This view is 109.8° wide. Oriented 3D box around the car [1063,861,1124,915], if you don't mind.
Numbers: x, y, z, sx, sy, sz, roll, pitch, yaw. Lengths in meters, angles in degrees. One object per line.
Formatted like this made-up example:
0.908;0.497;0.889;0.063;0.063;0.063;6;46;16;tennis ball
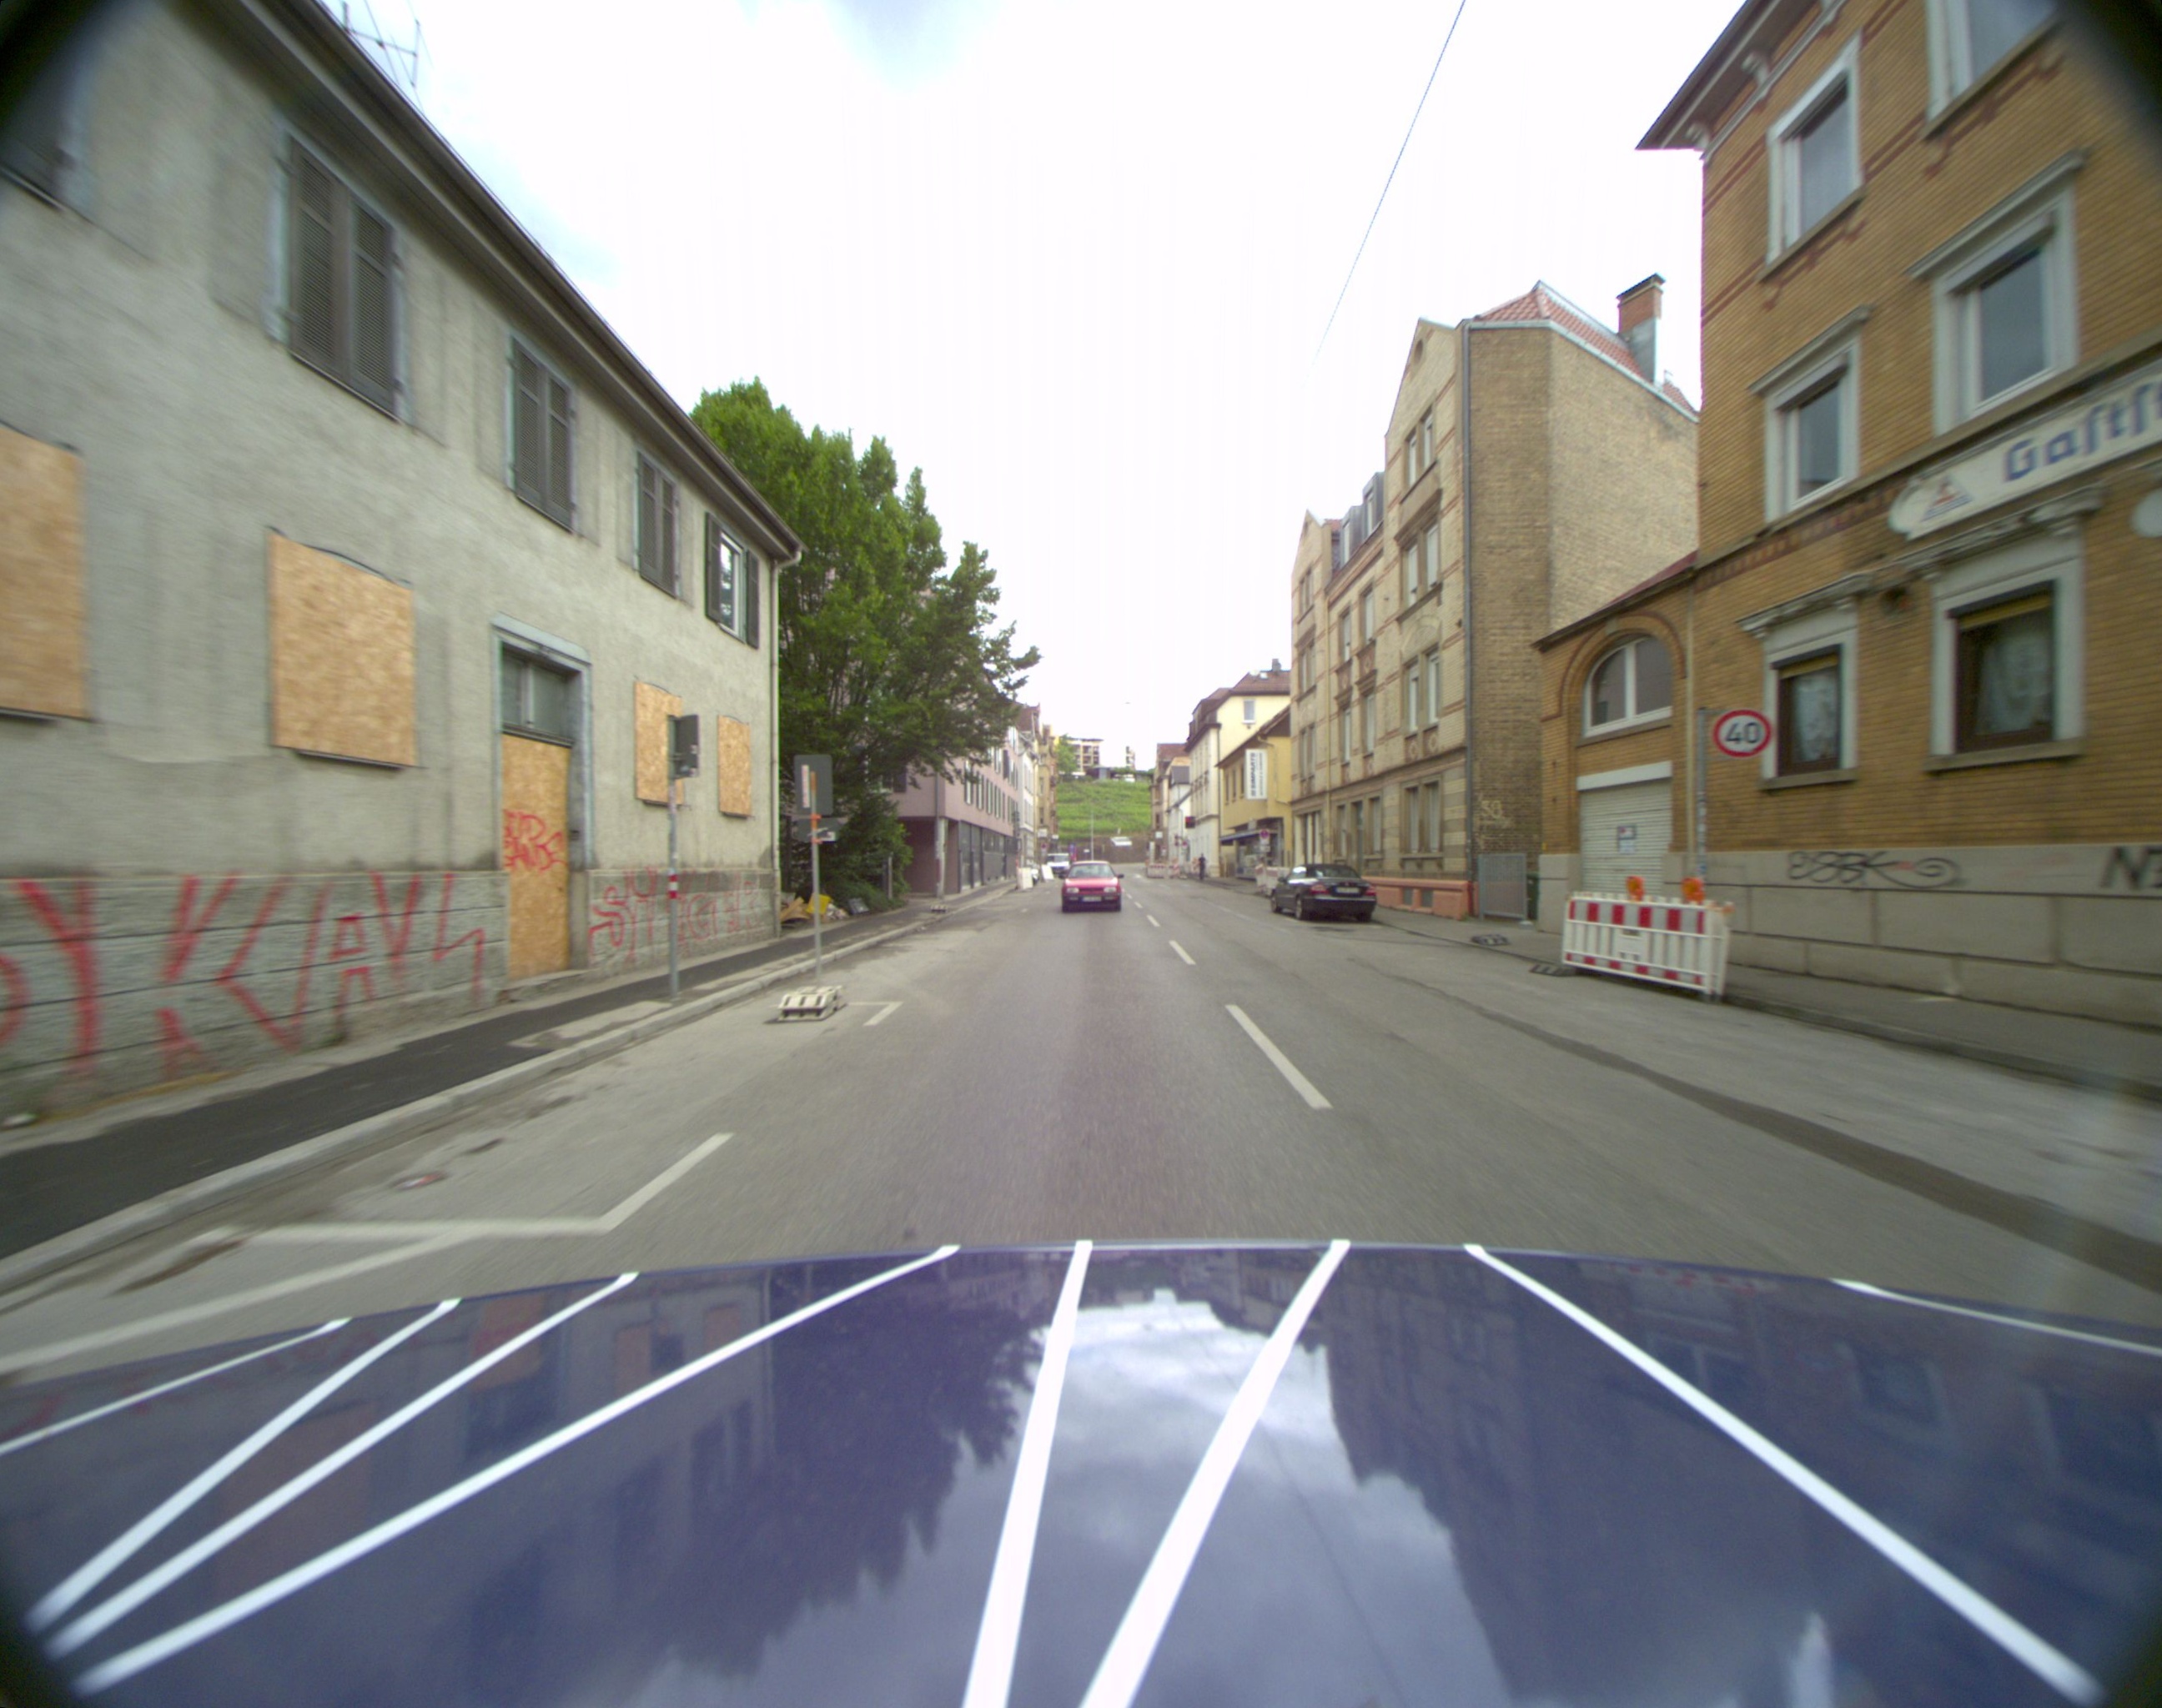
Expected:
0.428;0.930;22.424;1.626;1.387;4.000;0;0;3;car

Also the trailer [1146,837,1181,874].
6.608;0.117;61.682;2.450;2.788;6.304;1;0;3;trailer

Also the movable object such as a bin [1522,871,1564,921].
10.169;0.908;16.739;0.504;1.043;0.667;-2;1;1;movable object such as a bin

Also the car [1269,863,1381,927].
6.121;0.955;19.572;1.582;1.375;4.354;1;0;2;car

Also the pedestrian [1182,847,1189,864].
10.056;0.140;72.980;0.602;1.557;0.607;-1;1;1;pedestrian

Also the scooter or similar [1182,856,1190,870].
10.080;0.896;72.974;0.561;1.283;1.228;-1;1;1;scooter or similar

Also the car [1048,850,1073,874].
-1.722;0.637;66.245;1.998;1.970;4.877;0;0;0;car

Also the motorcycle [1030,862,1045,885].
-2.513;1.119;43.863;0.648;1.219;2.337;-2;0;1;motorcycle
